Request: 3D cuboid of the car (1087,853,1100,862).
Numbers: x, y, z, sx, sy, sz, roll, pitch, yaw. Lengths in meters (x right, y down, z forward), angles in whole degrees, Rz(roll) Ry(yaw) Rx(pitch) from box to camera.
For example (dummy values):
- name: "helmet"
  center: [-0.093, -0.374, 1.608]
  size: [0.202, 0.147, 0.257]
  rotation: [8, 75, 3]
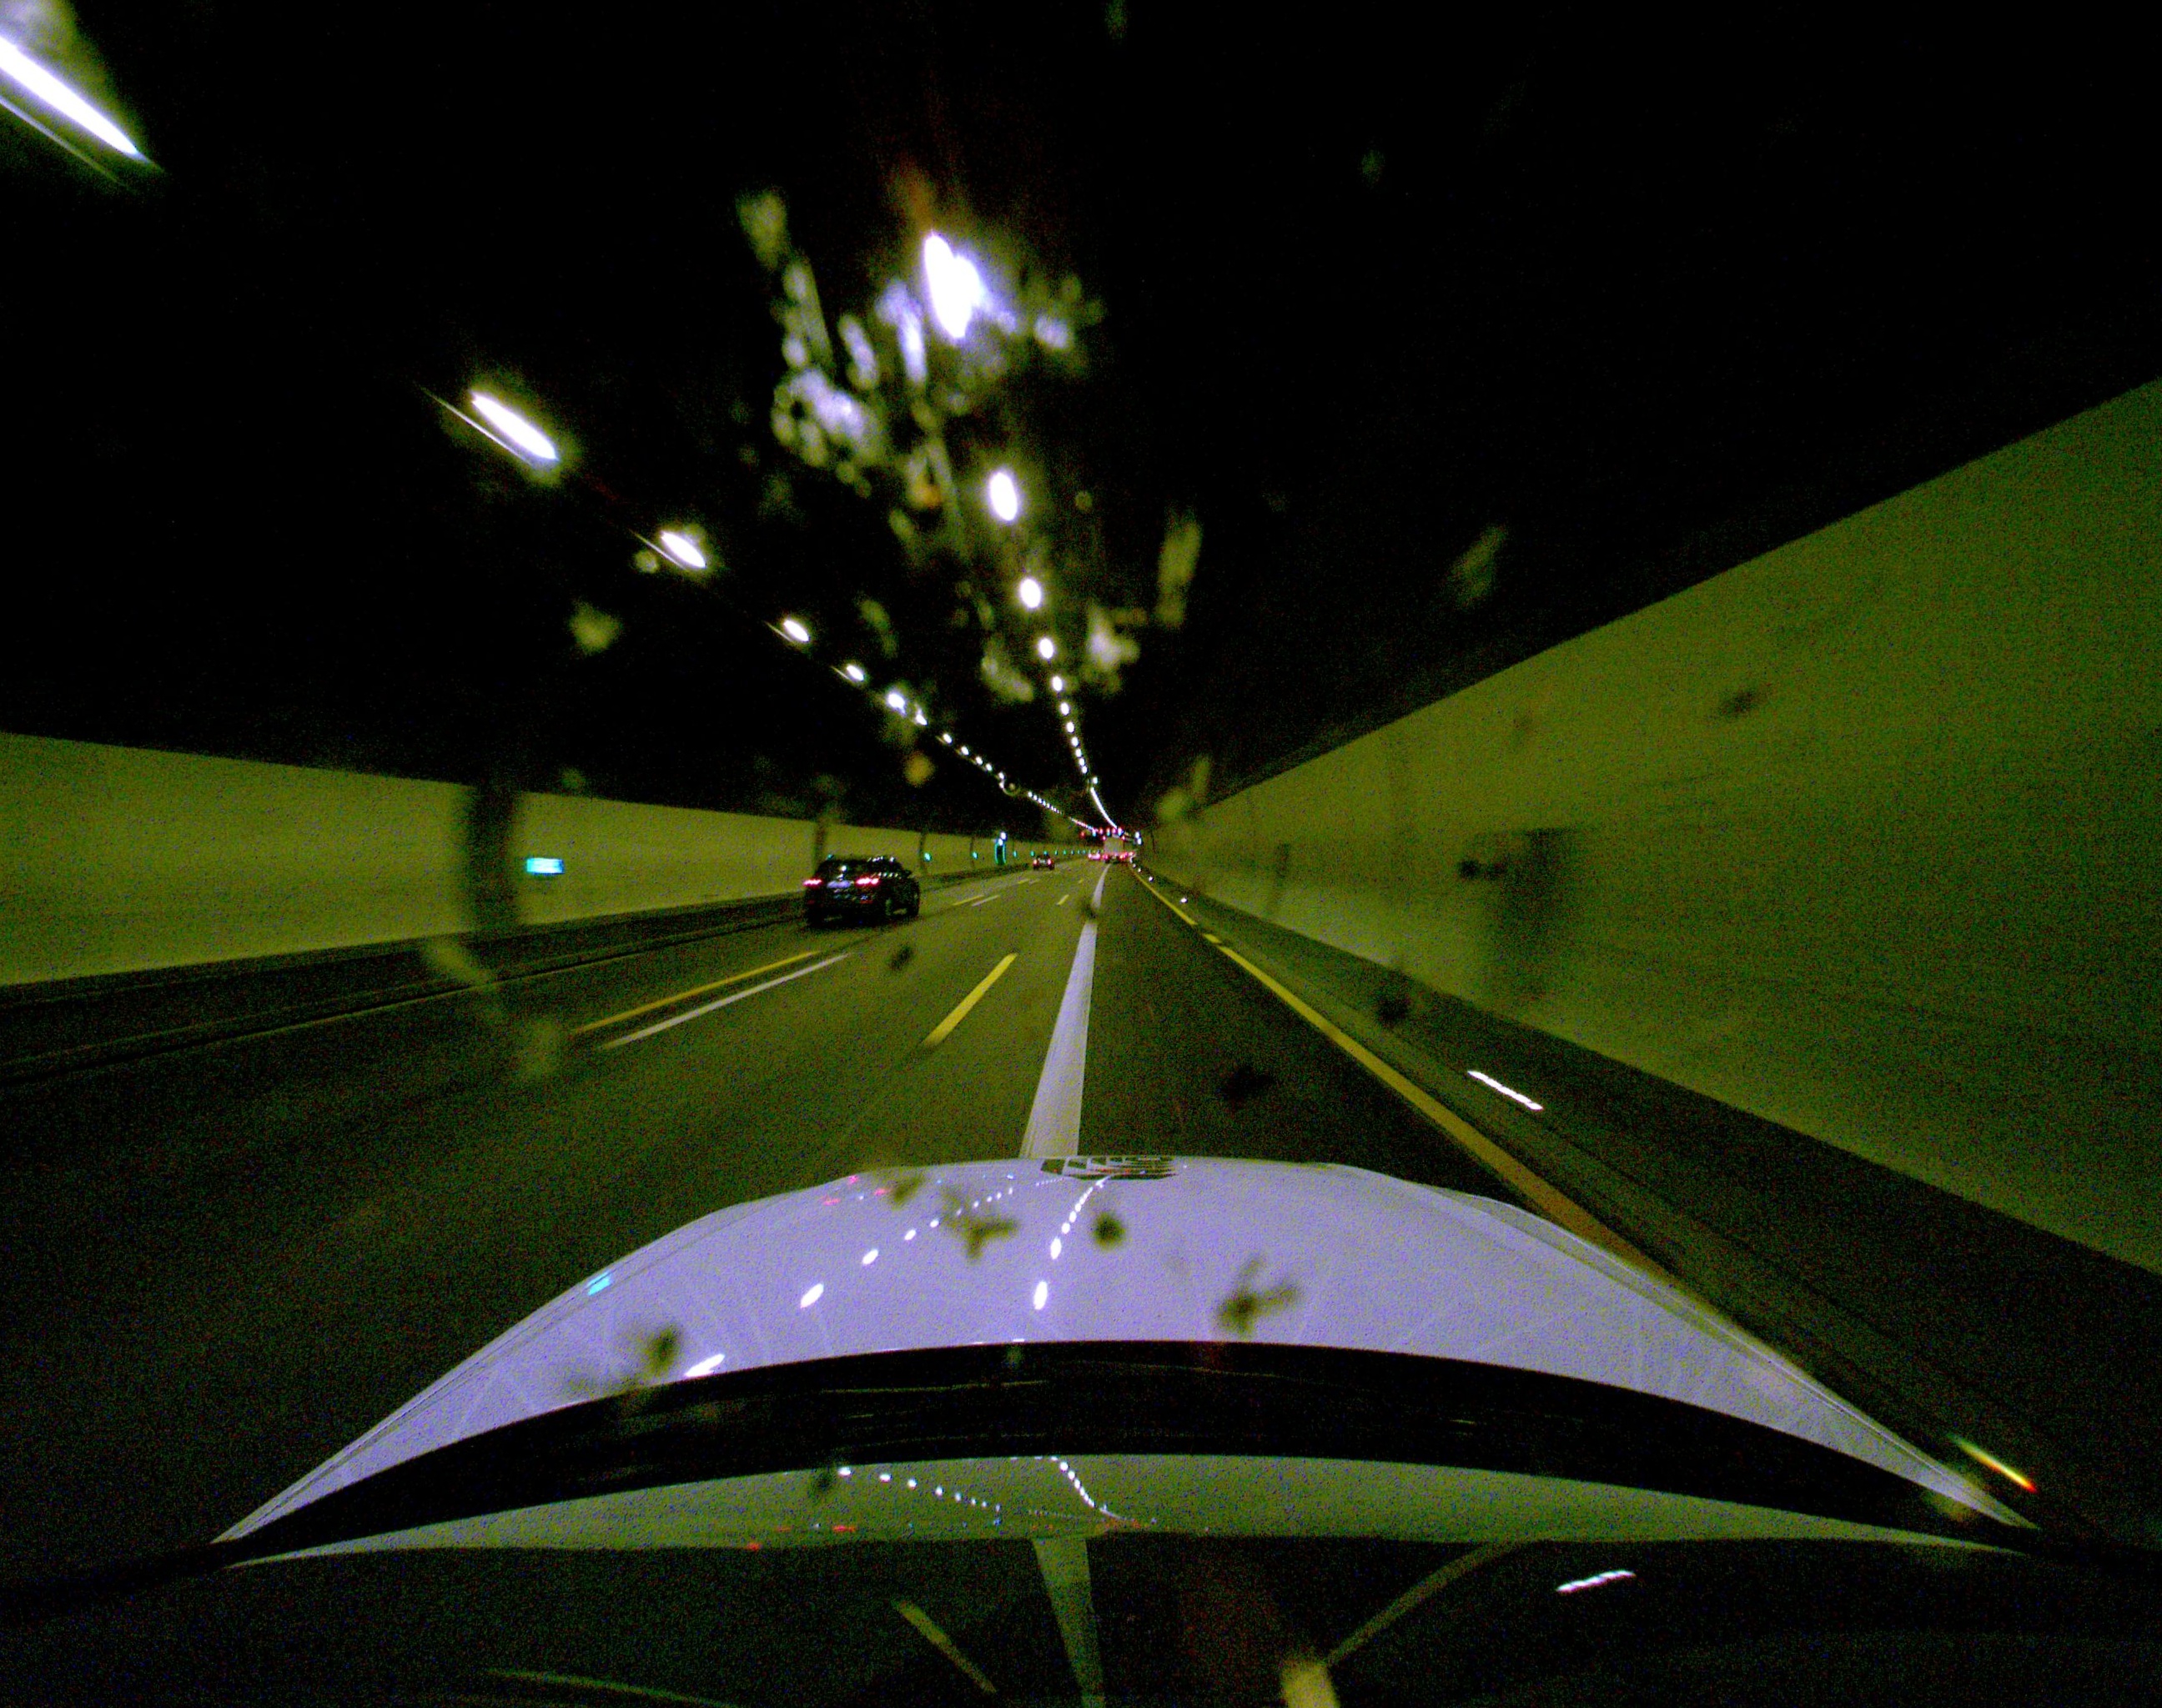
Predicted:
- name: "car"
  center: [2.027, 0.522, 131.794]
  size: [1.986, 1.413, 4.743]
  rotation: [0, 0, 1]

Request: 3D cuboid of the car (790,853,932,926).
- name: "car"
  center: [-5.121, 0.772, 19.744]
  size: [1.986, 1.540, 4.745]
  rotation: [0, 0, 2]

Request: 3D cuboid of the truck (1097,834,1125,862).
- name: "truck"
  center: [3.958, -0.816, 109.951]
  size: [3.579, 3.650, 10.726]
  rotation: [0, 0, 2]

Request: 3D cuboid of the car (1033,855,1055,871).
- name: "car"
  center: [-3.295, 0.821, 73.688]
  size: [1.683, 1.417, 3.924]
  rotation: [0, 0, 1]
